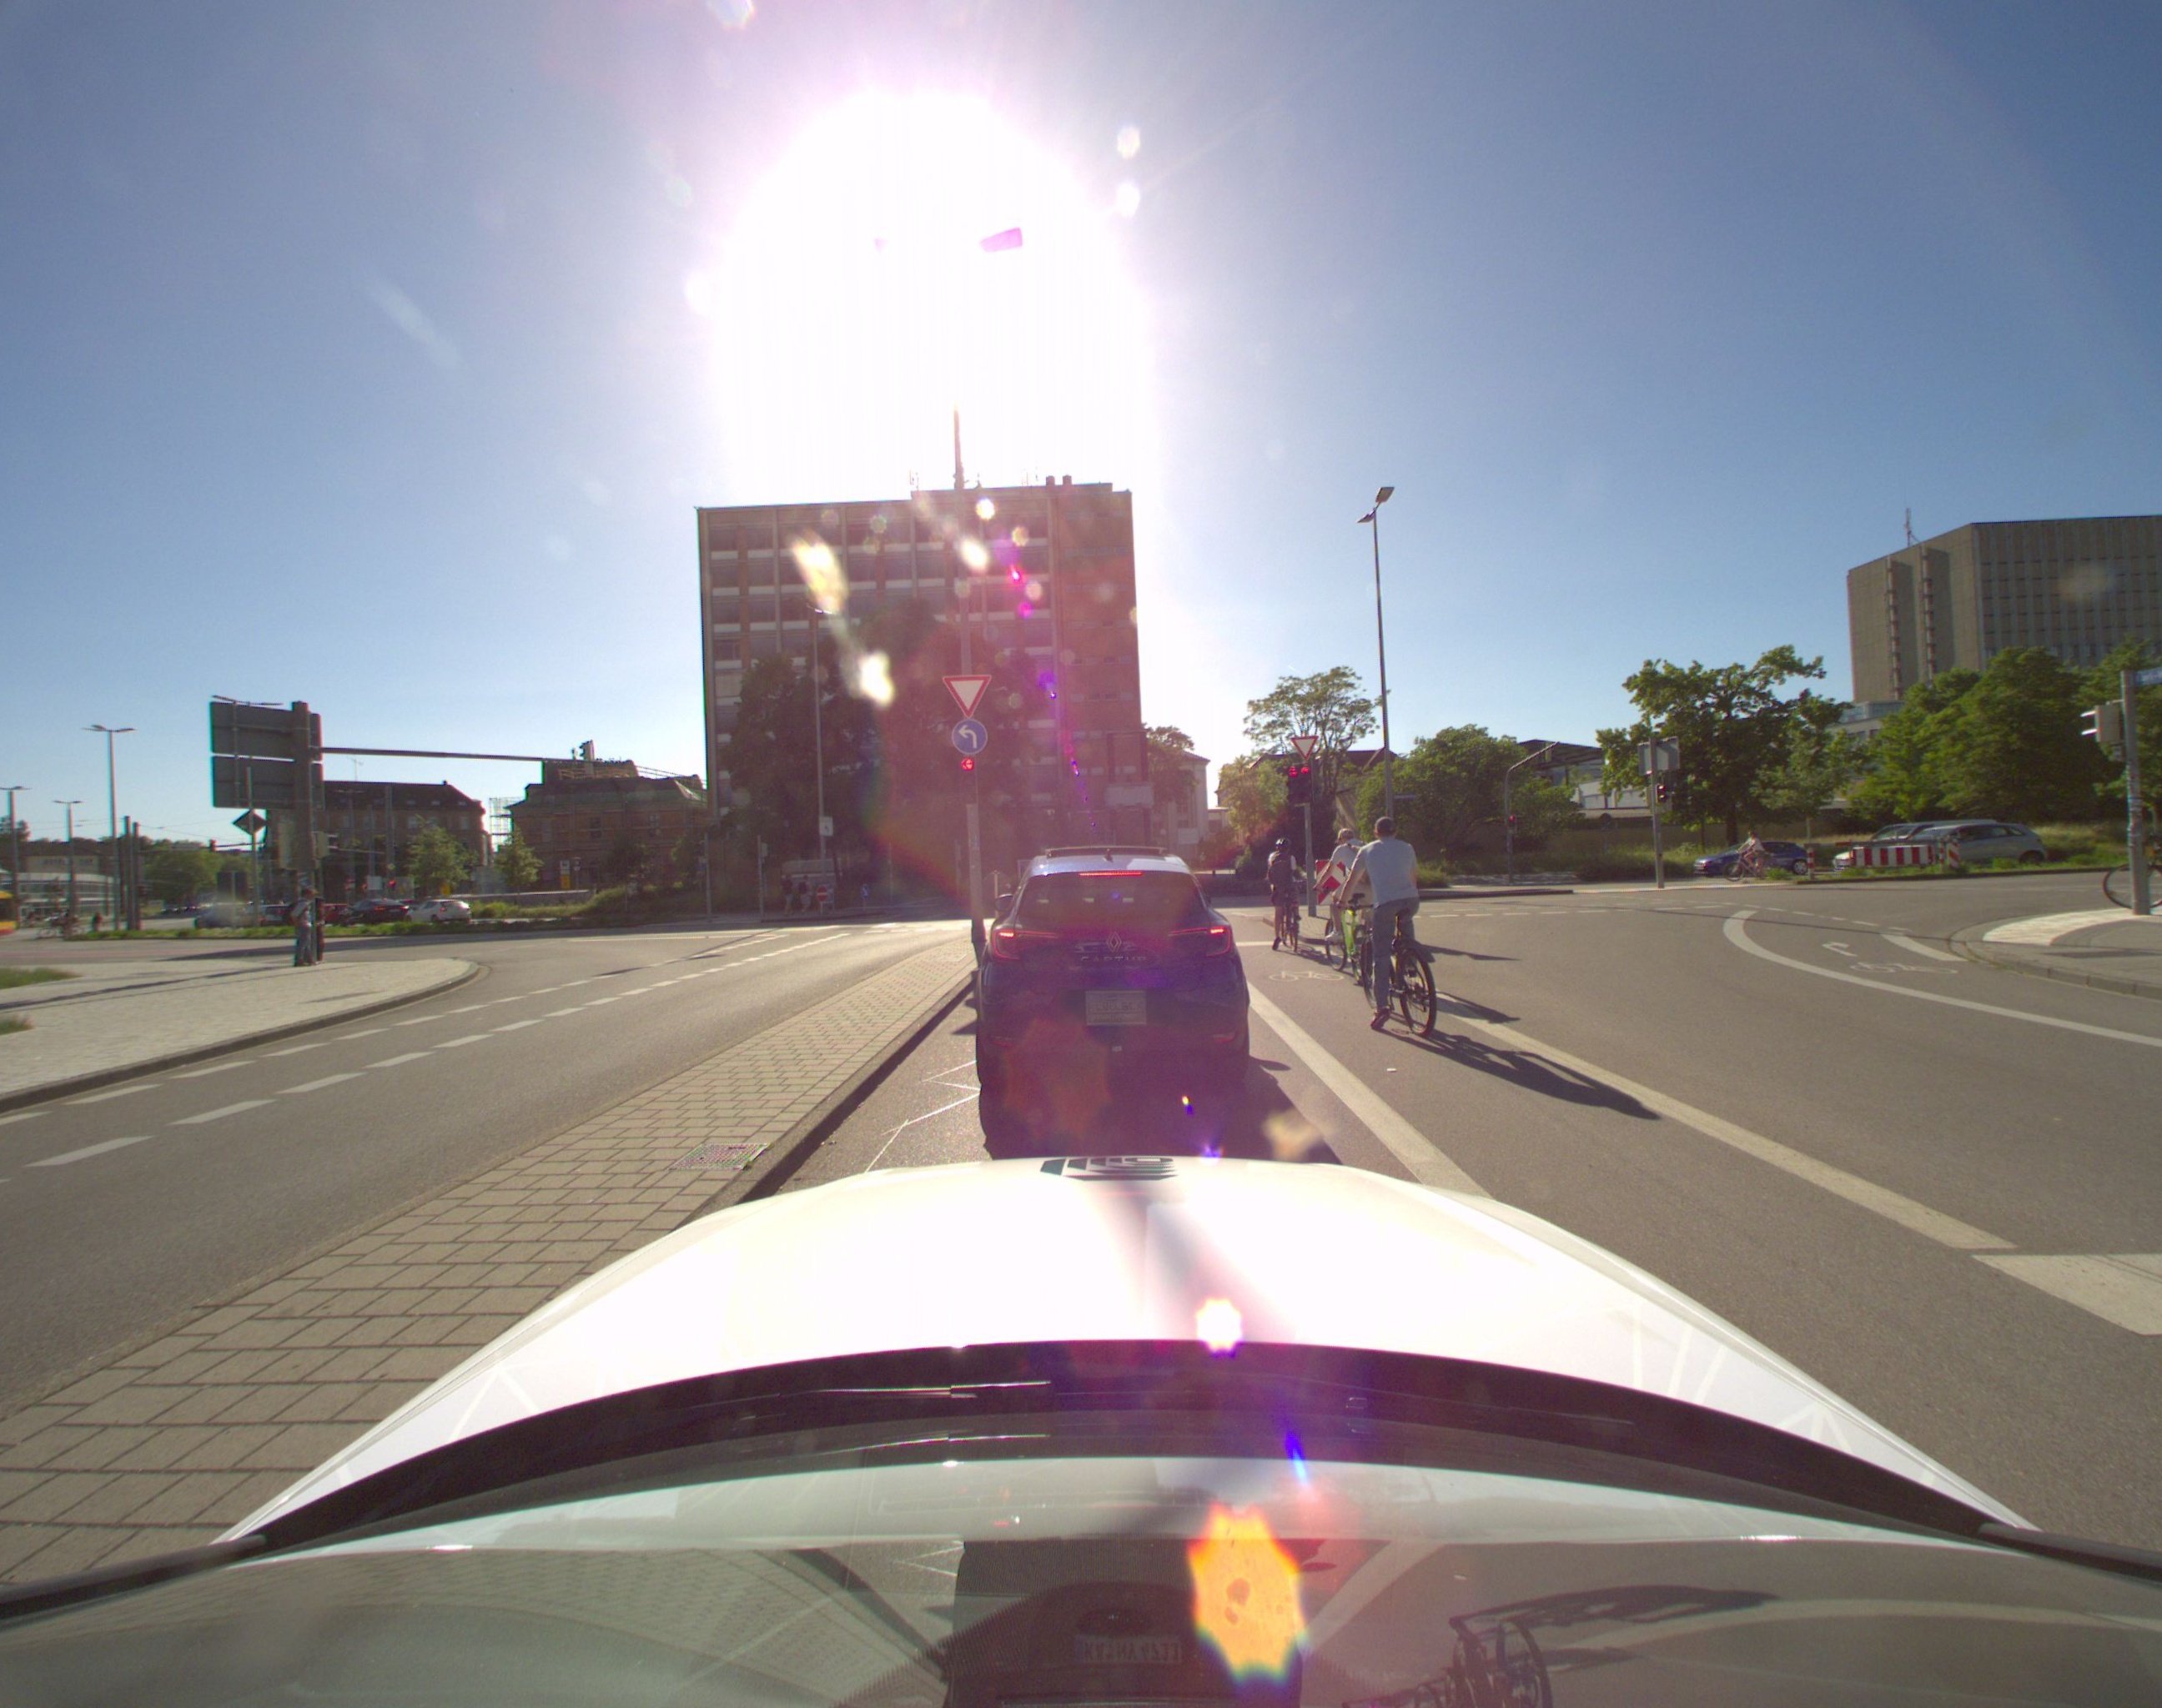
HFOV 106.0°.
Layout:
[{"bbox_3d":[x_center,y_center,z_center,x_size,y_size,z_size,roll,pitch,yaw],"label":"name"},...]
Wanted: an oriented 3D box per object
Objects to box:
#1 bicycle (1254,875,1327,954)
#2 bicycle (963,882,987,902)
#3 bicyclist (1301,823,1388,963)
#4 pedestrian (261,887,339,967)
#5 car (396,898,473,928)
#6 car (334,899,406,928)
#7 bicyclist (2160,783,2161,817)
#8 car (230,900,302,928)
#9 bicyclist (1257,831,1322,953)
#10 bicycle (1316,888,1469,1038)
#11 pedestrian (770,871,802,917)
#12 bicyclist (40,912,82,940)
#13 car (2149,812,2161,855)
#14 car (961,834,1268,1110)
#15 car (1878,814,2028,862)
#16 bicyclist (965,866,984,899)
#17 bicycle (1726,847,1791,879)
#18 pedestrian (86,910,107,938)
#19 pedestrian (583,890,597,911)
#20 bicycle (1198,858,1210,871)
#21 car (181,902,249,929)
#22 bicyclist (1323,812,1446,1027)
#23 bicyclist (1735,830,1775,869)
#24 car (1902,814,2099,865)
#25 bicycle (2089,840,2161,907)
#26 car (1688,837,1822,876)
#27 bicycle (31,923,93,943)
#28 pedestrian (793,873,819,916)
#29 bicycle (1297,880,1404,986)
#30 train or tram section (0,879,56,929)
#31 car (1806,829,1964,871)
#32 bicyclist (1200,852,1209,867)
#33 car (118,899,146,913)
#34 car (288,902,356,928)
[{"bbox_3d":[3.260,0.908,12.858,0.687,1.089,1.923,-1,0,2],"label":"bicycle"},{"bbox_3d":[-5.725,2.045,44.176,0.751,0.985,2.098,-2,0,8],"label":"bicycle"},{"bbox_3d":[3.176,0.450,9.907,0.676,1.594,1.142,-1,-1,2],"label":"bicyclist"},{"bbox_3d":[-17.811,1.642,18.594,0.647,1.730,1.066,-3,-1,15],"label":"pedestrian"},{"bbox_3d":[-36.392,3.339,45.841,3.834,1.508,1.805,-3,-1,25],"label":"car"},{"bbox_3d":[-42.548,3.567,48.745,3.834,1.508,1.805,-3,-1,25],"label":"car"},{"bbox_3d":[16.028,-0.225,11.477,0.635,1.646,0.903,-2,-1,-39],"label":"bicyclist"},{"bbox_3d":[-48.861,3.608,48.810,3.834,1.508,1.805,-3,-1,25],"label":"car"},{"bbox_3d":[3.210,0.560,12.629,0.697,1.791,1.142,-1,-1,2],"label":"bicyclist"},{"bbox_3d":[2.728,0.900,7.372,0.687,1.089,1.923,-1,0,2],"label":"bicycle"},{"bbox_3d":[-12.452,1.693,34.419,0.807,1.862,0.913,-3,-1,15],"label":"pedestrian"},{"bbox_3d":[-65.815,4.638,52.570,0.800,1.634,1.585,-1,-1,44],"label":"bicyclist"},{"bbox_3d":[36.903,-0.763,25.334,4.534,1.398,1.798,-3,-1,7],"label":"car"},{"bbox_3d":[0.199,0.706,6.771,1.783,1.585,3.913,-1,0,0],"label":"car"},{"bbox_3d":[35.873,-0.619,33.611,3.965,1.749,1.798,-3,-1,7],"label":"car"},{"bbox_3d":[-5.760,1.555,44.076,0.751,1.716,1.001,-2,-1,7],"label":"bicyclist"},{"bbox_3d":[24.142,0.322,29.039,1.673,1.033,0.612,-3,-1,7],"label":"bicycle"},{"bbox_3d":[-63.067,4.483,52.187,0.696,1.762,0.782,-3,-1,36],"label":"pedestrian"},{"bbox_3d":[-41.703,3.945,69.194,0.680,1.730,0.759,-2,-1,-7],"label":"pedestrian"},{"bbox_3d":[11.839,0.988,78.392,0.692,1.140,2.441,-2,0,1],"label":"bicycle"},{"bbox_3d":[-54.911,3.896,51.643,3.834,1.508,1.805,-3,-1,25],"label":"car"},{"bbox_3d":[2.716,0.554,7.407,0.680,1.791,1.142,-1,-1,2],"label":"bicyclist"},{"bbox_3d":[24.037,-0.160,29.055,0.870,1.343,0.612,-2,-1,7],"label":"bicyclist"},{"bbox_3d":[29.222,-0.434,26.005,3.965,1.398,1.798,-3,-1,7],"label":"car"},{"bbox_3d":[15.916,0.268,11.630,0.640,0.958,1.866,-2,-1,-39],"label":"bicycle"},{"bbox_3d":[28.137,0.105,34.110,3.965,1.398,1.798,-3,-1,7],"label":"car"},{"bbox_3d":[-65.776,5.089,52.610,0.800,1.062,2.433,-1,-1,44],"label":"bicycle"},{"bbox_3d":[-11.492,1.701,34.034,0.675,1.730,0.764,-3,-1,15],"label":"pedestrian"},{"bbox_3d":[3.192,0.891,9.848,0.687,1.089,1.923,-1,0,2],"label":"bicycle"},{"bbox_3d":[-74.694,3.392,55.693,2.712,3.232,10.487,0,-1,-34],"label":"train or tram section"},{"bbox_3d":[30.298,-0.136,30.796,3.965,1.398,1.798,-3,-1,7],"label":"car"},{"bbox_3d":[11.823,0.530,78.197,0.692,1.481,0.717,-2,-1,0],"label":"bicyclist"},{"bbox_3d":[-154.054,8.476,132.264,2.008,2.014,3.956,0,-1,-35],"label":"car"},{"bbox_3d":[-48.204,3.873,51.715,3.834,1.508,1.805,-3,-1,25],"label":"car"}]
